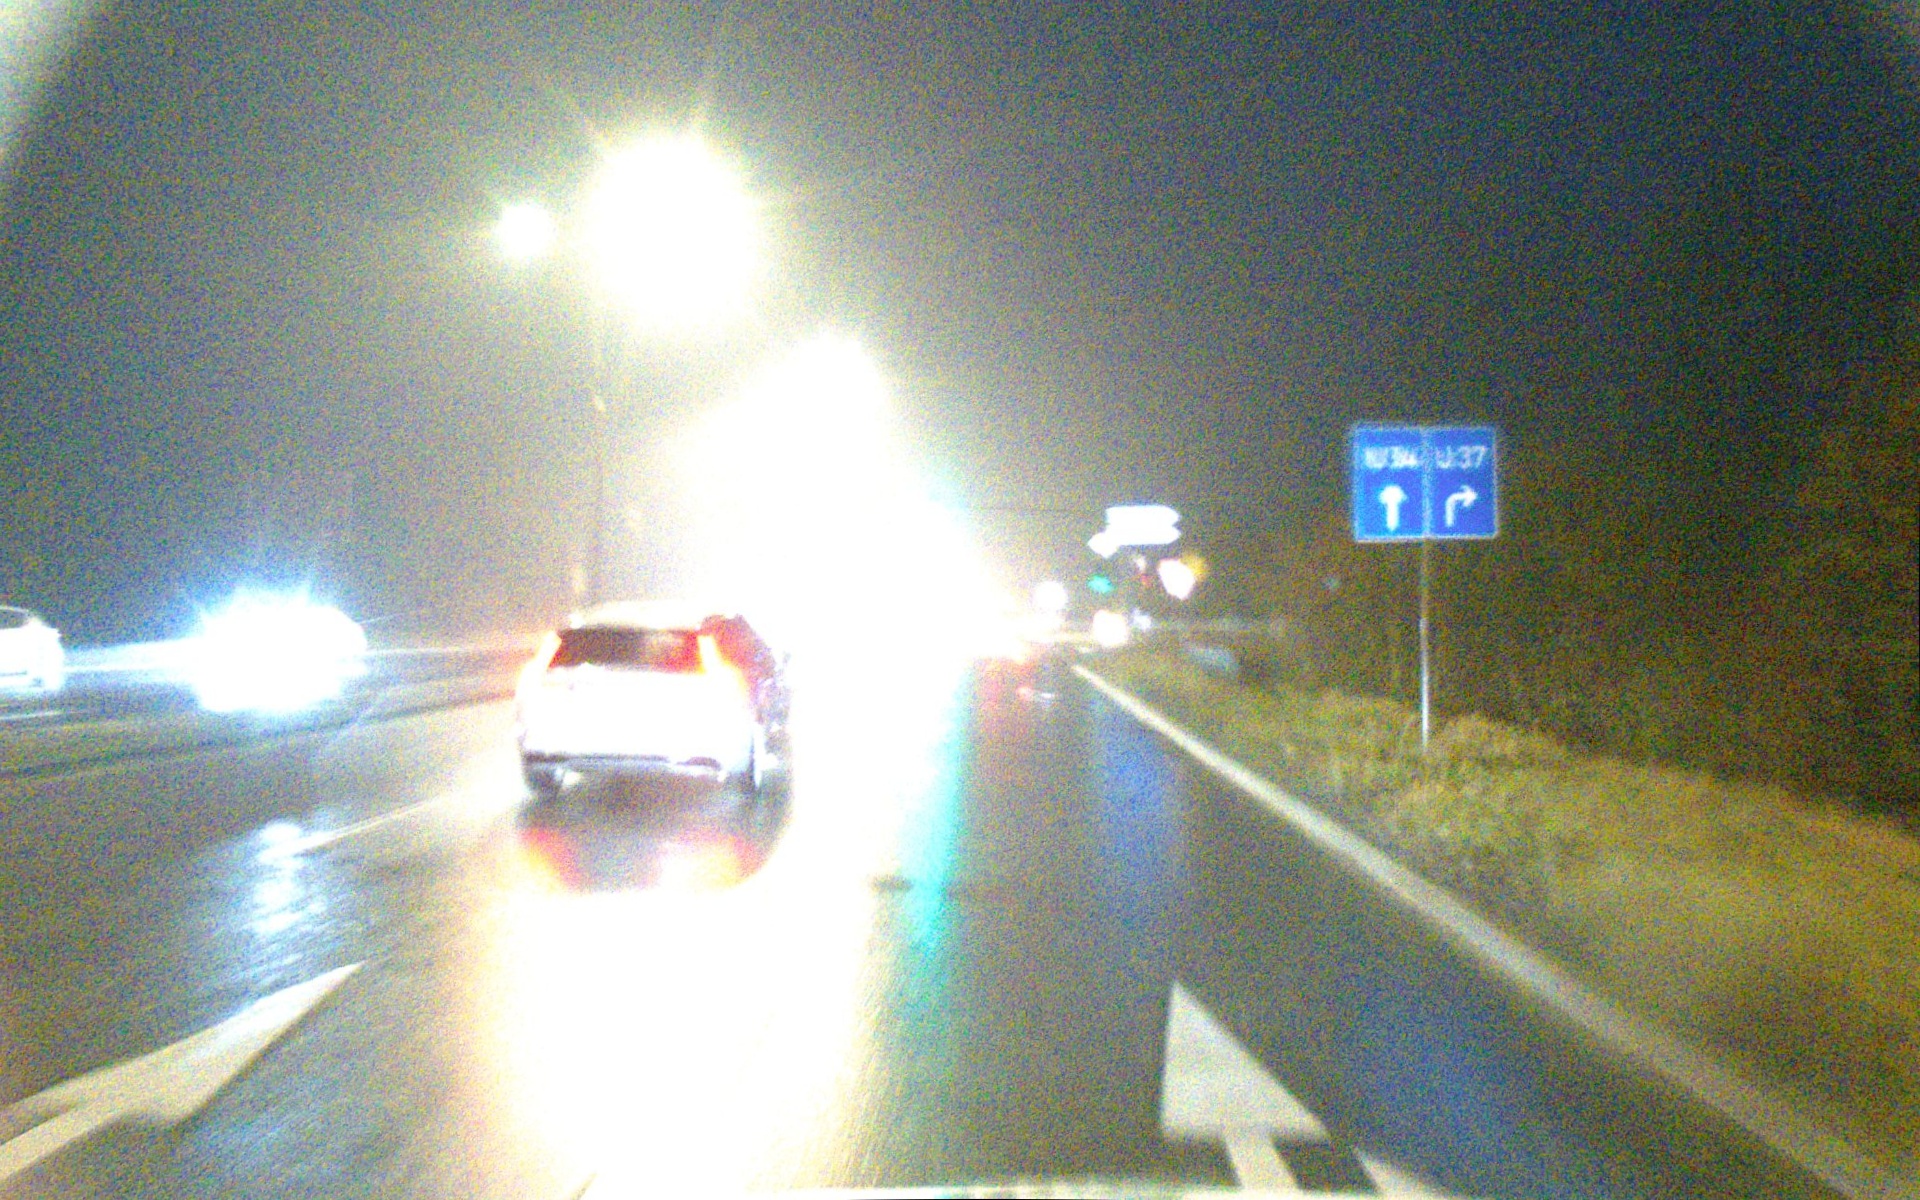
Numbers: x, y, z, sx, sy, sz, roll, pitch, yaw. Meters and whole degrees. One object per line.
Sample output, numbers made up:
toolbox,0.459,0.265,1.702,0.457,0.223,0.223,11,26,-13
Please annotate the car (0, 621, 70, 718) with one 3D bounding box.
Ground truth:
car,-17.251,1.208,28.532,1.462,1.630,4.146,1,0,1

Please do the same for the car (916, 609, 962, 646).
car,-1.093,1.462,87.547,2.133,1.629,4.000,5,-3,2

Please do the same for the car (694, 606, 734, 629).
car,-13.342,0.946,89.715,1.610,1.224,3.614,1,0,0

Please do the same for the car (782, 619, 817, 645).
car,-9.267,1.835,95.839,1.556,1.452,3.351,1,0,2

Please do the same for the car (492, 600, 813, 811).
car,-2.366,0.798,13.826,1.759,1.478,4.269,0,-1,2

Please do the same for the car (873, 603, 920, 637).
car,-3.643,1.191,96.157,2.132,1.629,4.001,5,-3,5

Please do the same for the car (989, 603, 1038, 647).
car,2.433,1.141,73.703,1.870,1.629,4.001,5,-3,5

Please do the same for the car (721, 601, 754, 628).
car,-16.184,1.044,120.552,1.726,1.925,4.206,1,0,1

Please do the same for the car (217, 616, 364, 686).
car,-16.484,1.239,40.990,1.845,1.557,4.430,3,-1,-1
